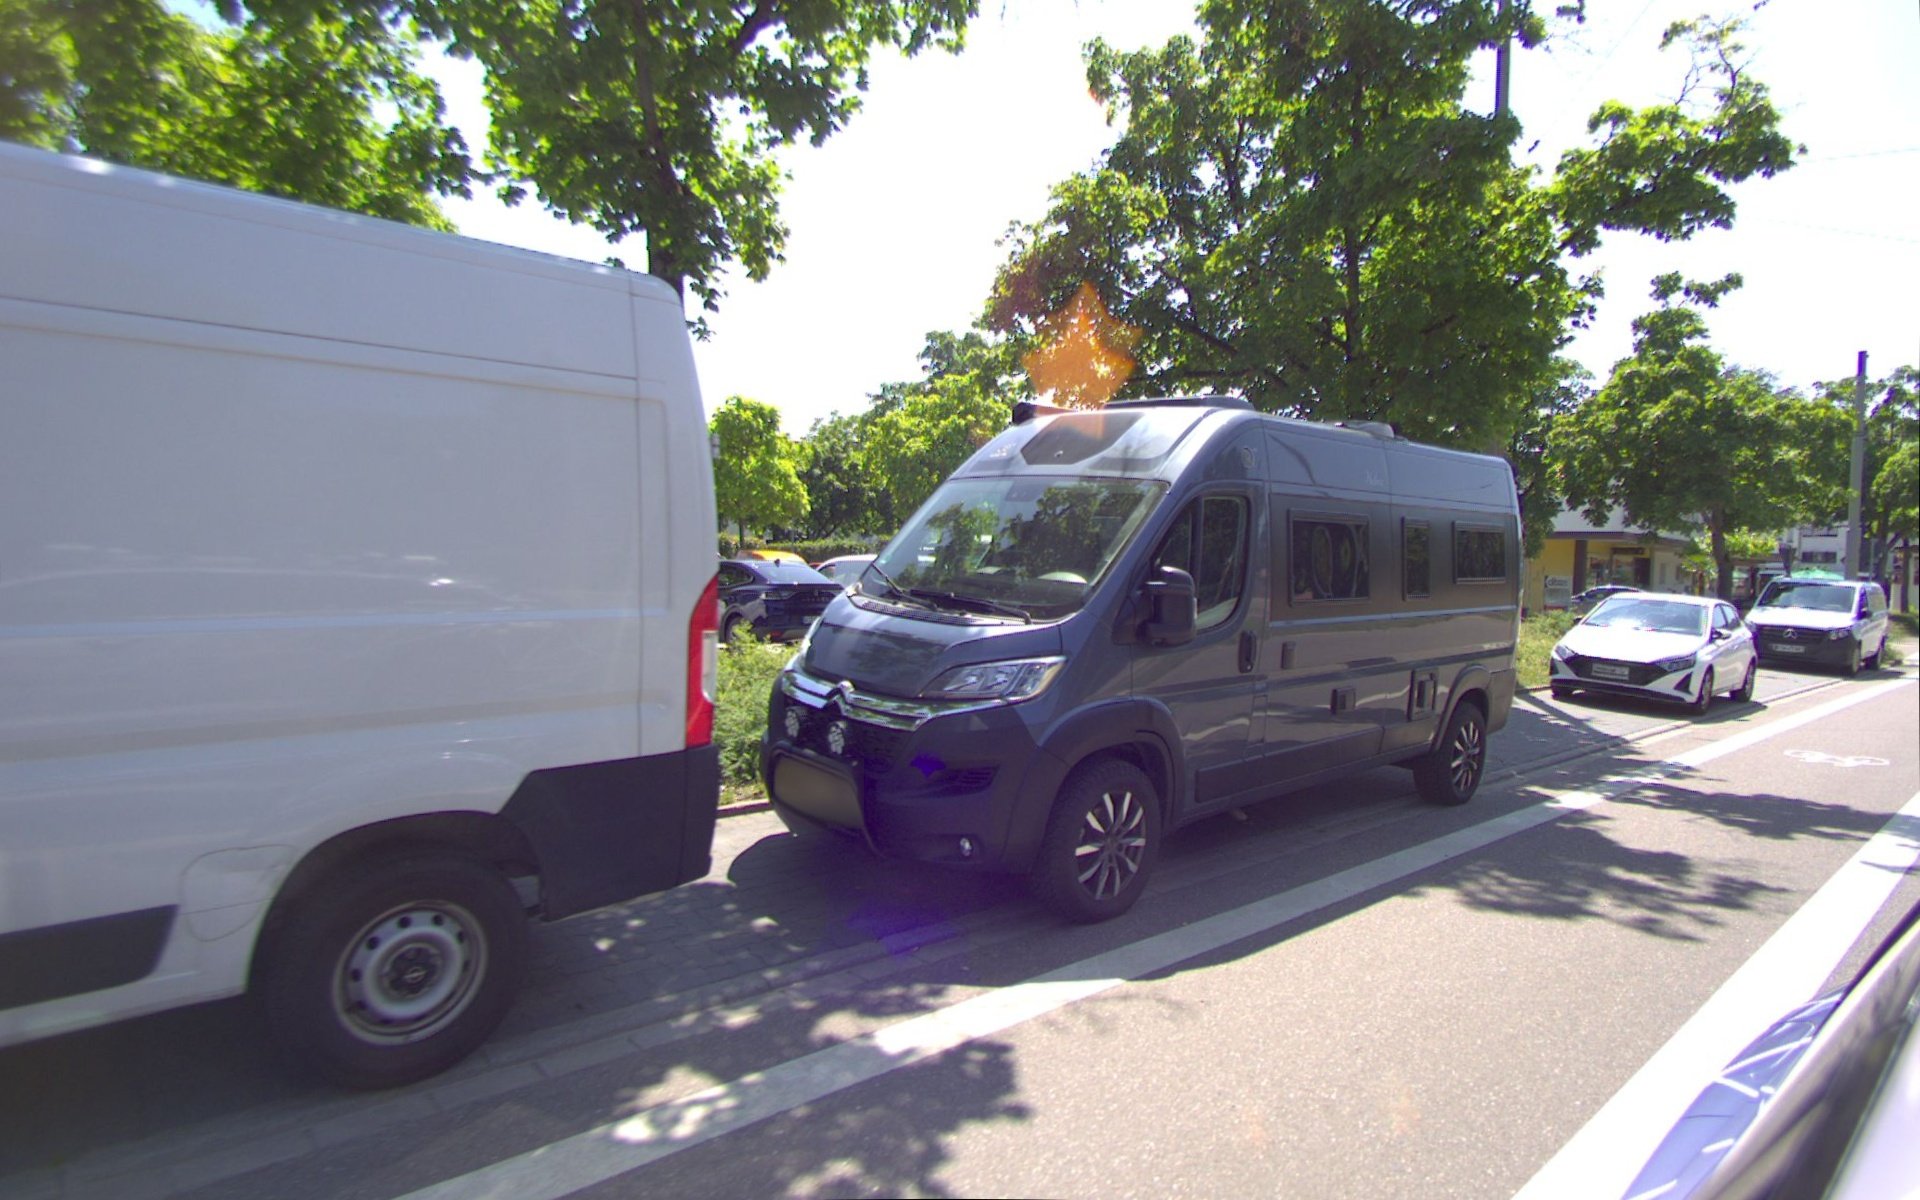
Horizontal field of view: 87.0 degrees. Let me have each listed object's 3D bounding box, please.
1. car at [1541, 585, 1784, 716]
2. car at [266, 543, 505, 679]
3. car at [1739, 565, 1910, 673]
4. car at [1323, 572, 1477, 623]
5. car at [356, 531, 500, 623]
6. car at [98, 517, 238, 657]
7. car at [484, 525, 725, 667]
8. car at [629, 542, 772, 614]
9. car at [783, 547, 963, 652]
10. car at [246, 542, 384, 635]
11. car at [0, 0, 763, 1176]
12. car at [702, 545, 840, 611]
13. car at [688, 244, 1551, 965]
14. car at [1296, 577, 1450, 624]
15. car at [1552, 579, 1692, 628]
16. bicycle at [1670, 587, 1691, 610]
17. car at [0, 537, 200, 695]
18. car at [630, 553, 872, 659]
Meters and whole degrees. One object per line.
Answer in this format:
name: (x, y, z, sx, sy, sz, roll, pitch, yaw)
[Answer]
car: (9.821, 0.582, 14.027, 4.135, 1.445, 1.726, 0, 5, -41)
car: (-7.355, 0.106, 12.757, 1.699, 1.423, 4.281, 0, 0, -43)
car: (18.399, 0.329, 21.446, 5.034, 1.939, 1.884, 0, 4, -41)
car: (13.833, -0.076, 31.997, 1.650, 1.509, 4.205, 0, 0, -41)
car: (-12.978, -0.624, 24.496, 2.057, 1.898, 5.110, 0, 4, -40)
car: (-16.527, -0.403, 21.054, 2.057, 2.489, 5.505, 0, 4, -40)
car: (-5.298, -0.064, 14.869, 1.923, 1.806, 3.780, 0, 0, -45)
car: (-7.710, -0.701, 29.693, 2.057, 1.773, 5.167, 0, 4, -40)
car: (-1.671, -0.022, 18.640, 1.698, 1.739, 3.378, 0, 0, -40)
car: (-14.988, -0.348, 23.365, 2.057, 1.773, 5.110, 0, 4, -40)
car: (-3.639, -0.091, 2.252, 6.036, 2.668, 2.002, 0, 4, -42)
car: (-6.127, -0.752, 32.265, 2.057, 1.773, 5.167, 0, 4, -40)
car: (1.518, -0.048, 6.483, 5.973, 2.668, 2.002, 0, 4, -42)
car: (12.193, 0.002, 30.038, 1.698, 1.297, 3.892, 0, 0, -41)
car: (25.201, 0.093, 38.618, 1.912, 1.630, 4.143, 0, 2, -44)
bicycle: (36.089, -0.086, 50.716, 0.542, 1.081, 1.871, 3, 2, 44)
car: (-9.544, 0.133, 10.980, 1.699, 1.423, 3.890, 0, 0, -43)
car: (-3.573, 0.076, 16.772, 1.922, 1.524, 4.409, 0, 0, -44)
